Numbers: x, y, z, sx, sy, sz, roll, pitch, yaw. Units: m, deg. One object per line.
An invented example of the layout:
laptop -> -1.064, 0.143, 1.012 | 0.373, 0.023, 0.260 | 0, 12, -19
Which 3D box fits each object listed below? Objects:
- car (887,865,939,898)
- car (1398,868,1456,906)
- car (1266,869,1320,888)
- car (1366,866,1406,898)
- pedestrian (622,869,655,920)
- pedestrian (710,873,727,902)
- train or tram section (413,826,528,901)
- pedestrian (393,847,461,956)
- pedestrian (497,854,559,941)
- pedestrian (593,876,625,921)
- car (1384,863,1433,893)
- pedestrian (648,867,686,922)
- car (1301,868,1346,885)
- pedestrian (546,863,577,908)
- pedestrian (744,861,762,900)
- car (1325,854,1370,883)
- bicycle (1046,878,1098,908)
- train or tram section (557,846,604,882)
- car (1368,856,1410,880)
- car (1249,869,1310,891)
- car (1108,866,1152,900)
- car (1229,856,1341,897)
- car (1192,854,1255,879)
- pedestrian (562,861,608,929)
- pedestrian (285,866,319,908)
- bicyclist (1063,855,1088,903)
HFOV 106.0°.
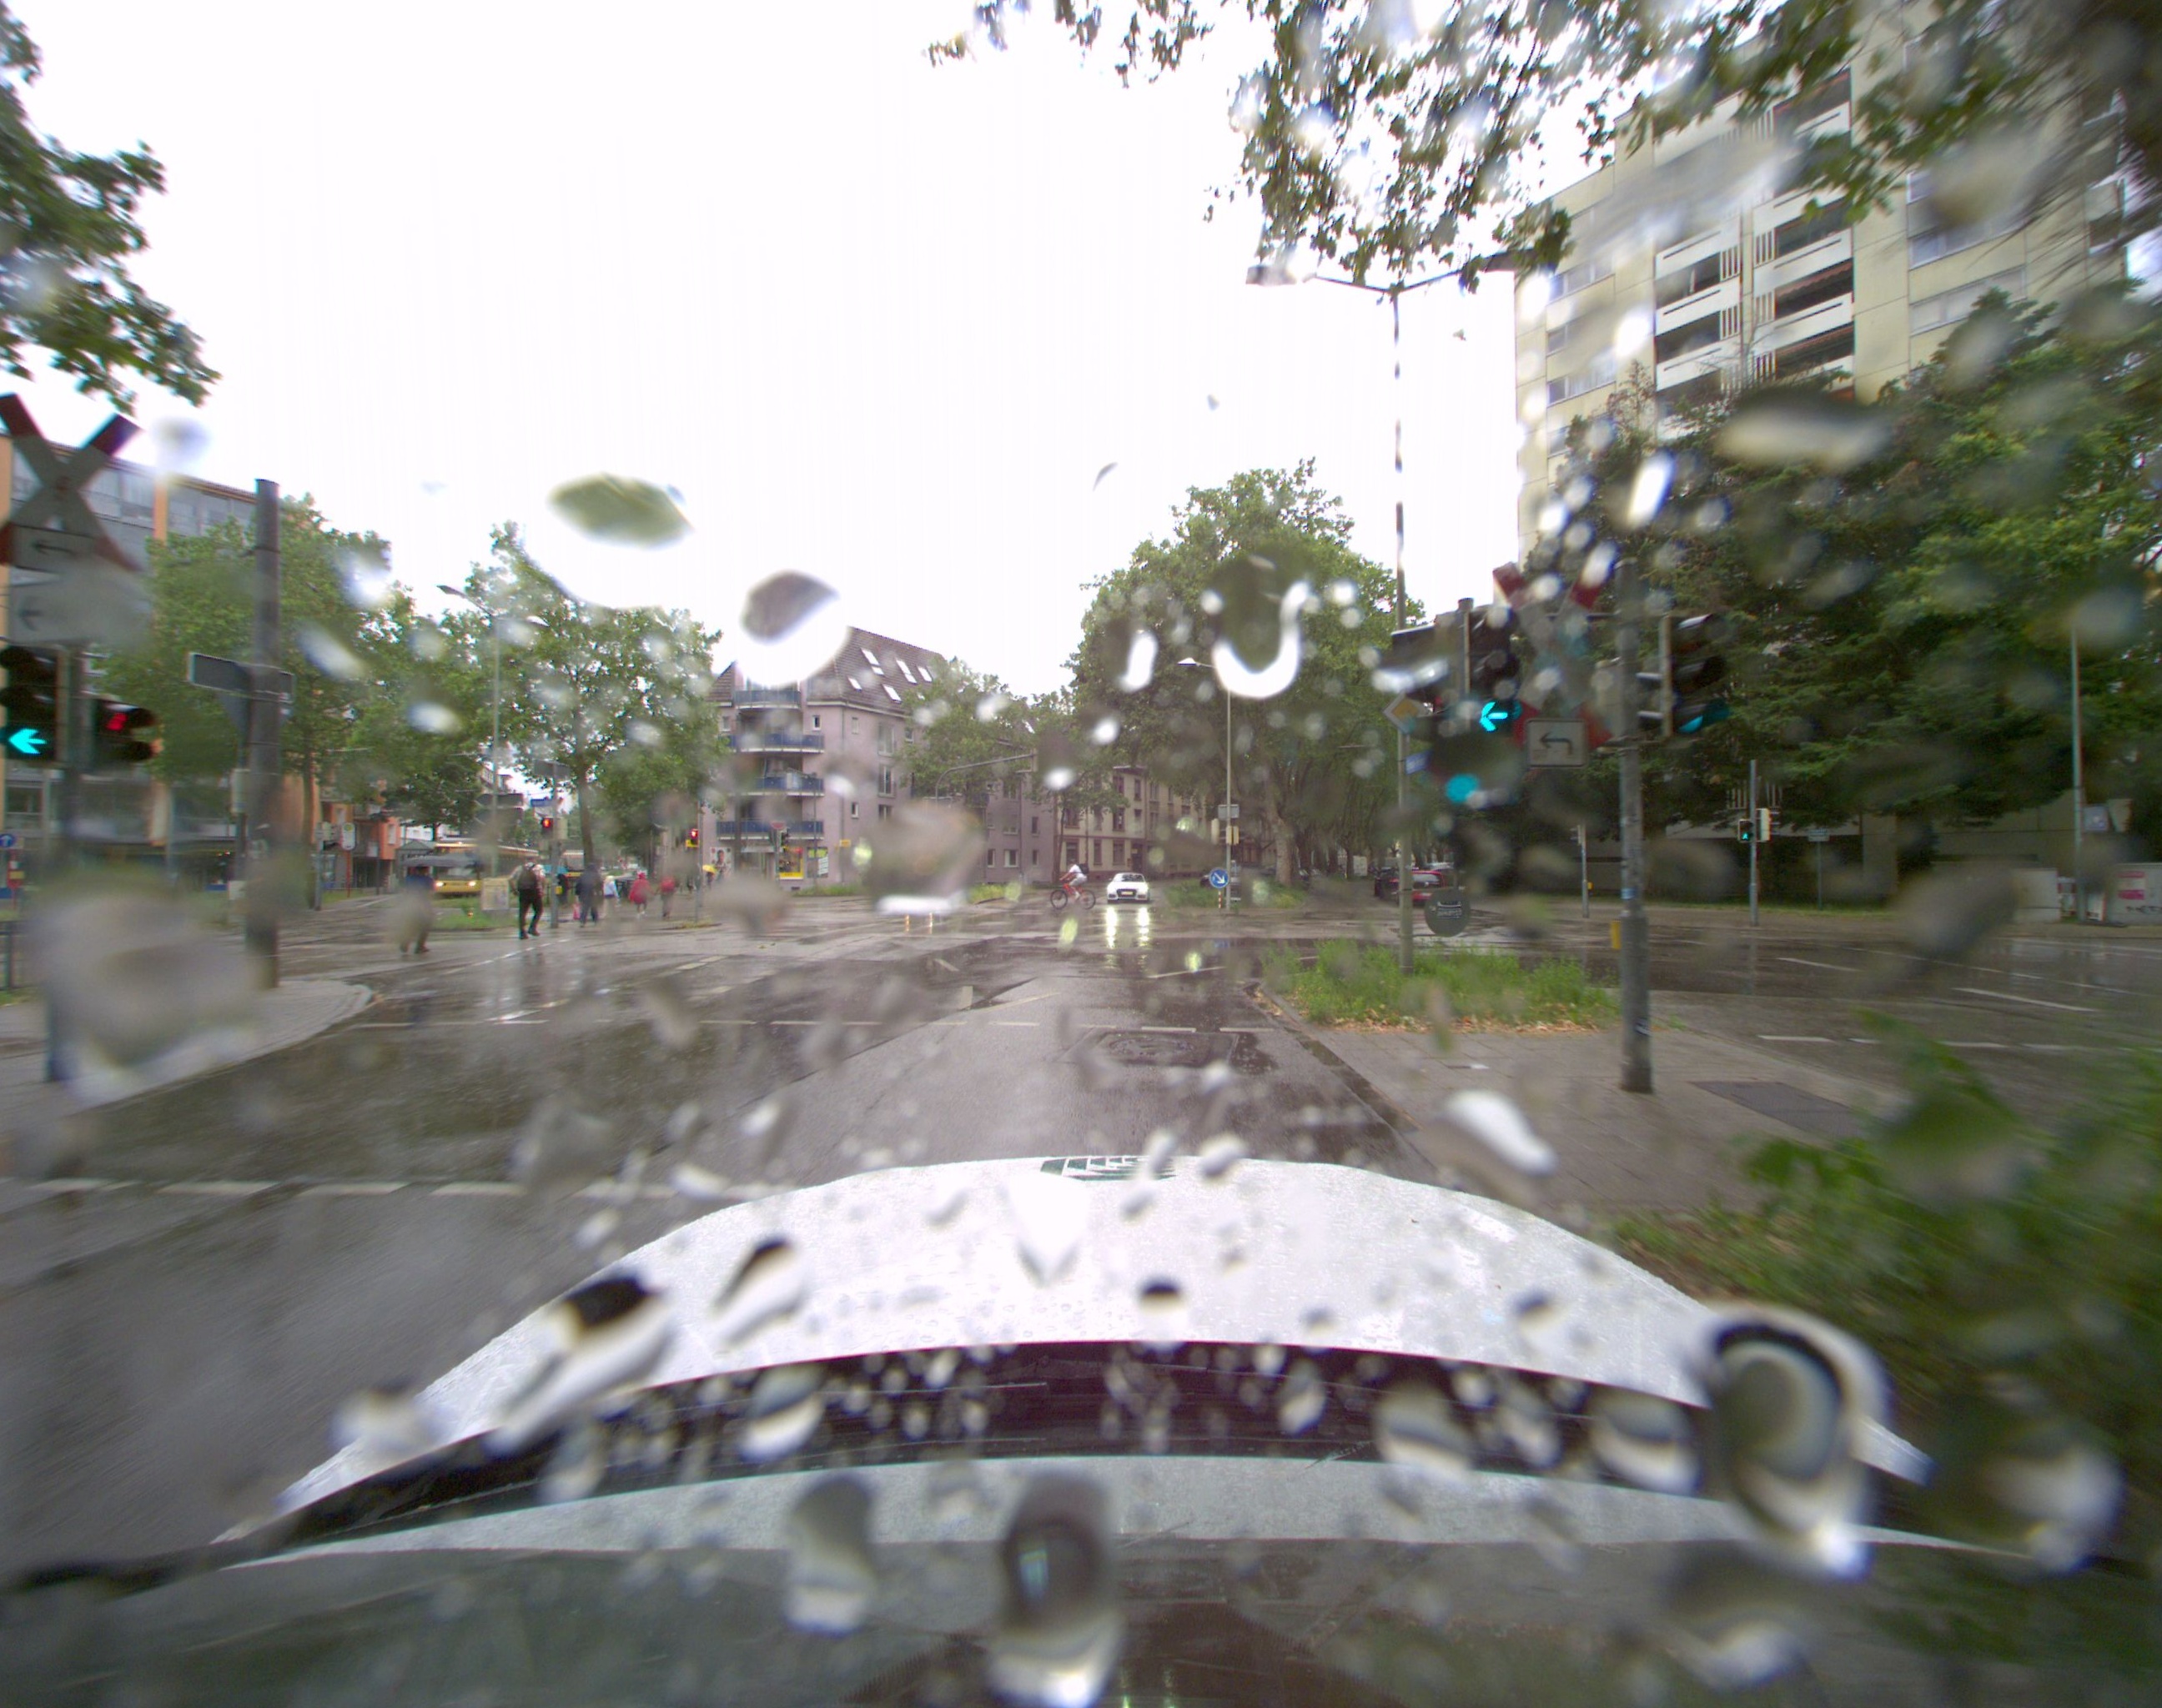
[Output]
car -> -8.207, 1.311, 40.121 | 1.745, 1.512, 3.839 | 0, -1, 1
car -> 14.648, 1.356, 34.699 | 1.778, 1.498, 4.016 | 0, 0, 16
car -> 16.522, 1.909, 63.588 | 3.958, 1.486, 2.007 | -1, -1, 14
car -> 17.106, 1.555, 45.797 | 1.769, 1.727, 4.016 | -1, -1, 16
pedestrian -> -13.442, 1.210, 24.749 | 0.680, 1.520, 0.658 | -1, -1, -5
pedestrian -> -17.616, 1.624, 39.582 | 0.653, 1.396, 0.774 | 0, -1, -33
train or tram section -> -36.520, 0.656, 49.522 | 2.897, 3.768, 17.087 | 0, -1, -28
pedestrian -> -11.751, 0.820, 14.631 | 0.876, 1.864, 0.881 | 1, -1, -43
pedestrian -> -11.553, 0.890, 17.042 | 0.867, 1.755, 0.825 | 0, -1, -18
pedestrian -> -14.577, 1.352, 25.180 | 0.657, 1.349, 0.706 | 0, -1, -12
car -> 15.699, 1.119, 39.241 | 1.770, 1.348, 3.945 | 0, 0, 16
pedestrian -> -12.682, 1.218, 24.968 | 0.728, 1.624, 0.816 | -1, 0, -5
car -> 22.805, 2.071, 76.646 | 3.958, 1.547, 2.007 | -1, -1, 14
pedestrian -> -21.067, 1.274, 33.055 | 0.962, 1.766, 0.944 | 0, -2, -28
pedestrian -> -15.758, 1.264, 39.119 | 0.791, 1.855, 0.676 | 0, -1, -22
car -> 27.957, 1.496, 85.627 | 2.040, 2.948, 4.741 | 0, -1, -18
bicycle -> -0.333, 1.459, 30.539 | 1.862, 1.081, 0.658 | -1, -1, 9
train or tram section -> -53.223, 1.106, 86.941 | 2.875, 3.545, 15.238 | 0, -1, -27
car -> 38.563, 1.714, 102.014 | 2.006, 2.948, 4.726 | 0, -1, -29
car -> 13.587, 1.787, 55.814 | 3.958, 1.486, 2.007 | -1, -1, 14
car -> 2.270, 1.312, 37.526 | 1.876, 1.436, 4.004 | 0, 0, 4
car -> 7.742, 0.859, 31.005 | 3.958, 1.486, 2.007 | -1, -1, 14
car -> 9.132, 0.807, 52.119 | 3.839, 1.486, 1.723 | -1, -1, 14
pedestrian -> -12.955, 1.053, 21.287 | 0.844, 1.698, 0.680 | -4, 2, -42
pedestrian -> -33.465, 1.394, 34.983 | 0.965, 1.766, 0.941 | 1, -2, -39
bicyclist -> -0.197, 0.932, 30.533 | 0.790, 1.786, 0.699 | -1, -1, 9
